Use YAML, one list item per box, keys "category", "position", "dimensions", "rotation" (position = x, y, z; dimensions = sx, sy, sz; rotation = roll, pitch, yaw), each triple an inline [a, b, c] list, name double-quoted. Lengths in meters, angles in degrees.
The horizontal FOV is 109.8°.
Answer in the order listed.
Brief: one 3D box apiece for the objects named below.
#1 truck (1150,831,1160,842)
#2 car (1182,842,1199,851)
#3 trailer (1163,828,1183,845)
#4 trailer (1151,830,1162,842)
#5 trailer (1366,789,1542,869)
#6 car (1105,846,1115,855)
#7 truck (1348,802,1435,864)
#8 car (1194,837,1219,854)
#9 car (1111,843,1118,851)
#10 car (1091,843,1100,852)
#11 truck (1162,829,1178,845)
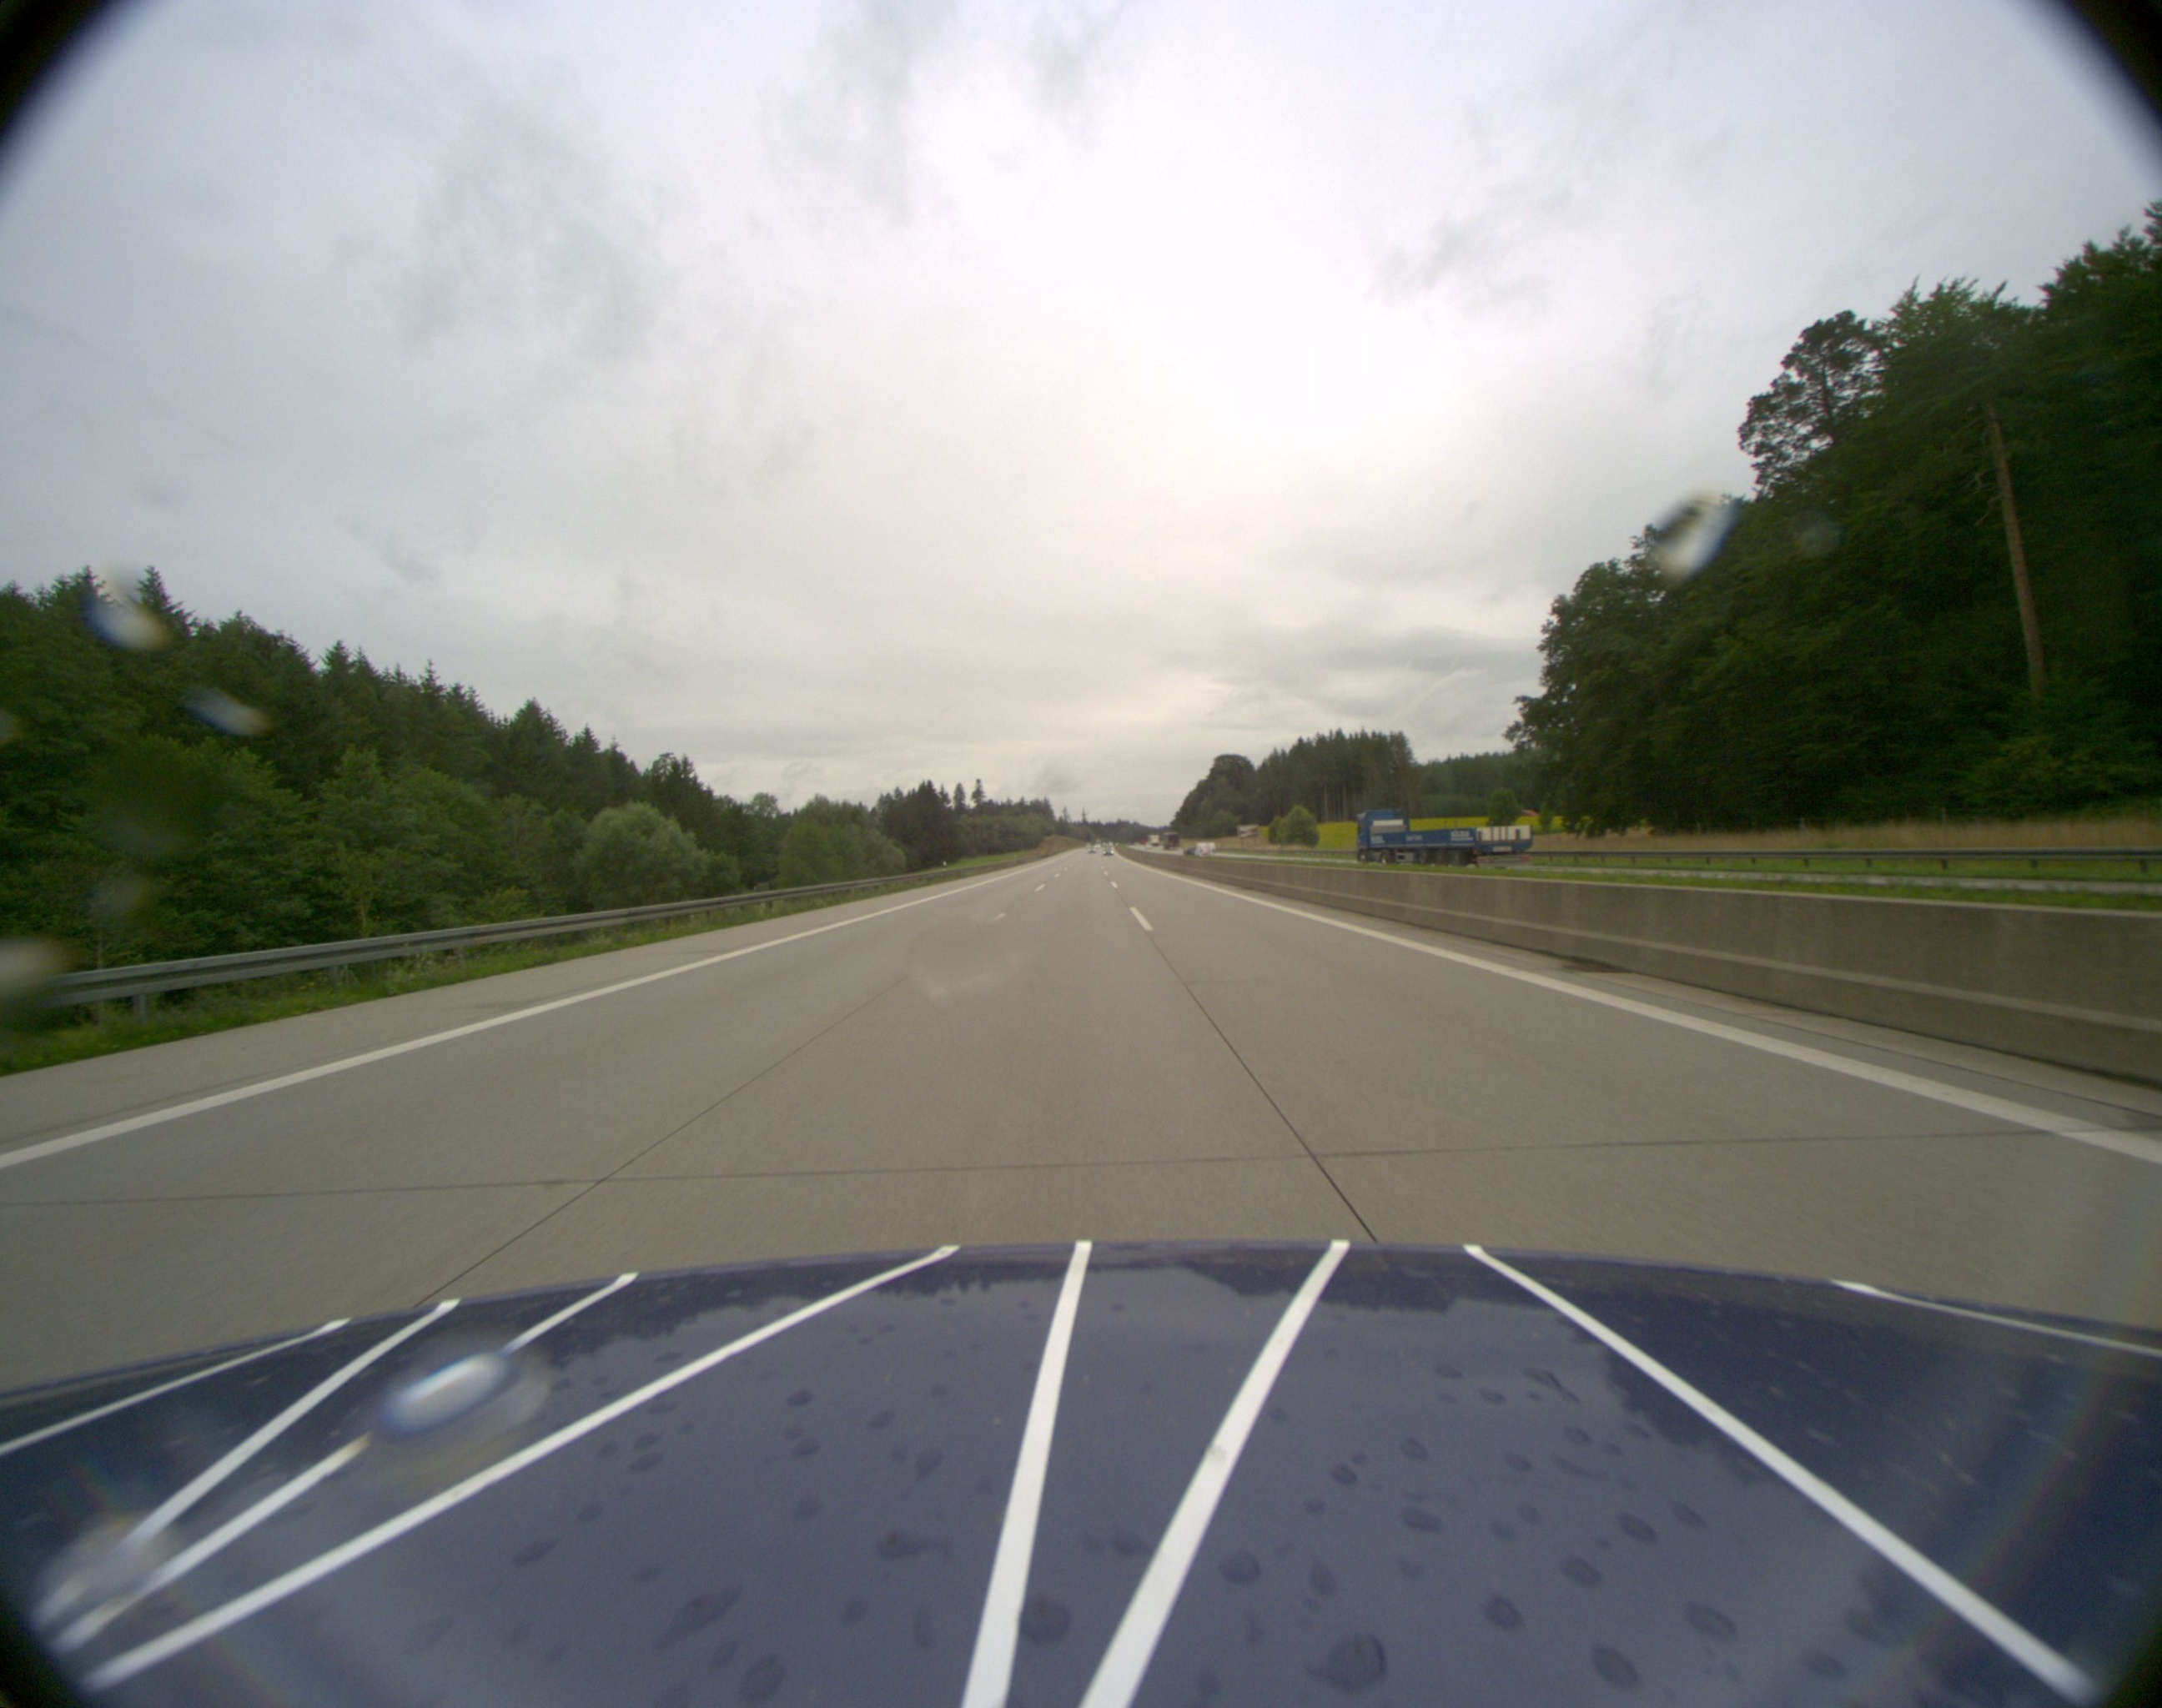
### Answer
- category: "truck"
  position: [25.955, -6.275, 267.062]
  dimensions: [2.819, 3.751, 11.349]
  rotation: [-3, 1, 2]
- category: "car"
  position: [17.036, -1.205, 118.136]
  dimensions: [1.852, 1.369, 4.436]
  rotation: [-3, 1, -1]
- category: "trailer"
  position: [22.616, -4.245, 187.790]
  dimensions: [3.243, 4.029, 14.129]
  rotation: [-3, 1, 1]
- category: "trailer"
  position: [25.577, -6.051, 257.433]
  dimensions: [2.825, 3.761, 7.715]
  rotation: [-3, 1, 2]
- category: "trailer"
  position: [19.416, -1.218, 41.192]
  dimensions: [2.792, 3.487, 13.883]
  rotation: [-3, 1, 1]
- category: "car"
  position: [5.657, -0.659, 148.494]
  dimensions: [1.766, 1.455, 4.001]
  rotation: [-3, -1, 2]
- category: "truck"
  position: [19.496, -1.300, 48.142]
  dimensions: [2.763, 3.497, 6.639]
  rotation: [-3, 1, 1]
- category: "car"
  position: [14.882, -1.006, 90.238]
  dimensions: [2.093, 1.791, 5.496]
  rotation: [-3, 1, 1]
- category: "car"
  position: [9.024, -1.863, 205.111]
  dimensions: [1.773, 1.783, 4.000]
  rotation: [-2, -1, 0]
- category: "car"
  position: [3.469, -1.447, 182.987]
  dimensions: [2.213, 2.002, 4.833]
  rotation: [-3, 0, 0]
- category: "truck"
  position: [22.741, -4.316, 193.695]
  dimensions: [3.220, 4.034, 7.165]
  rotation: [-3, 1, 1]
